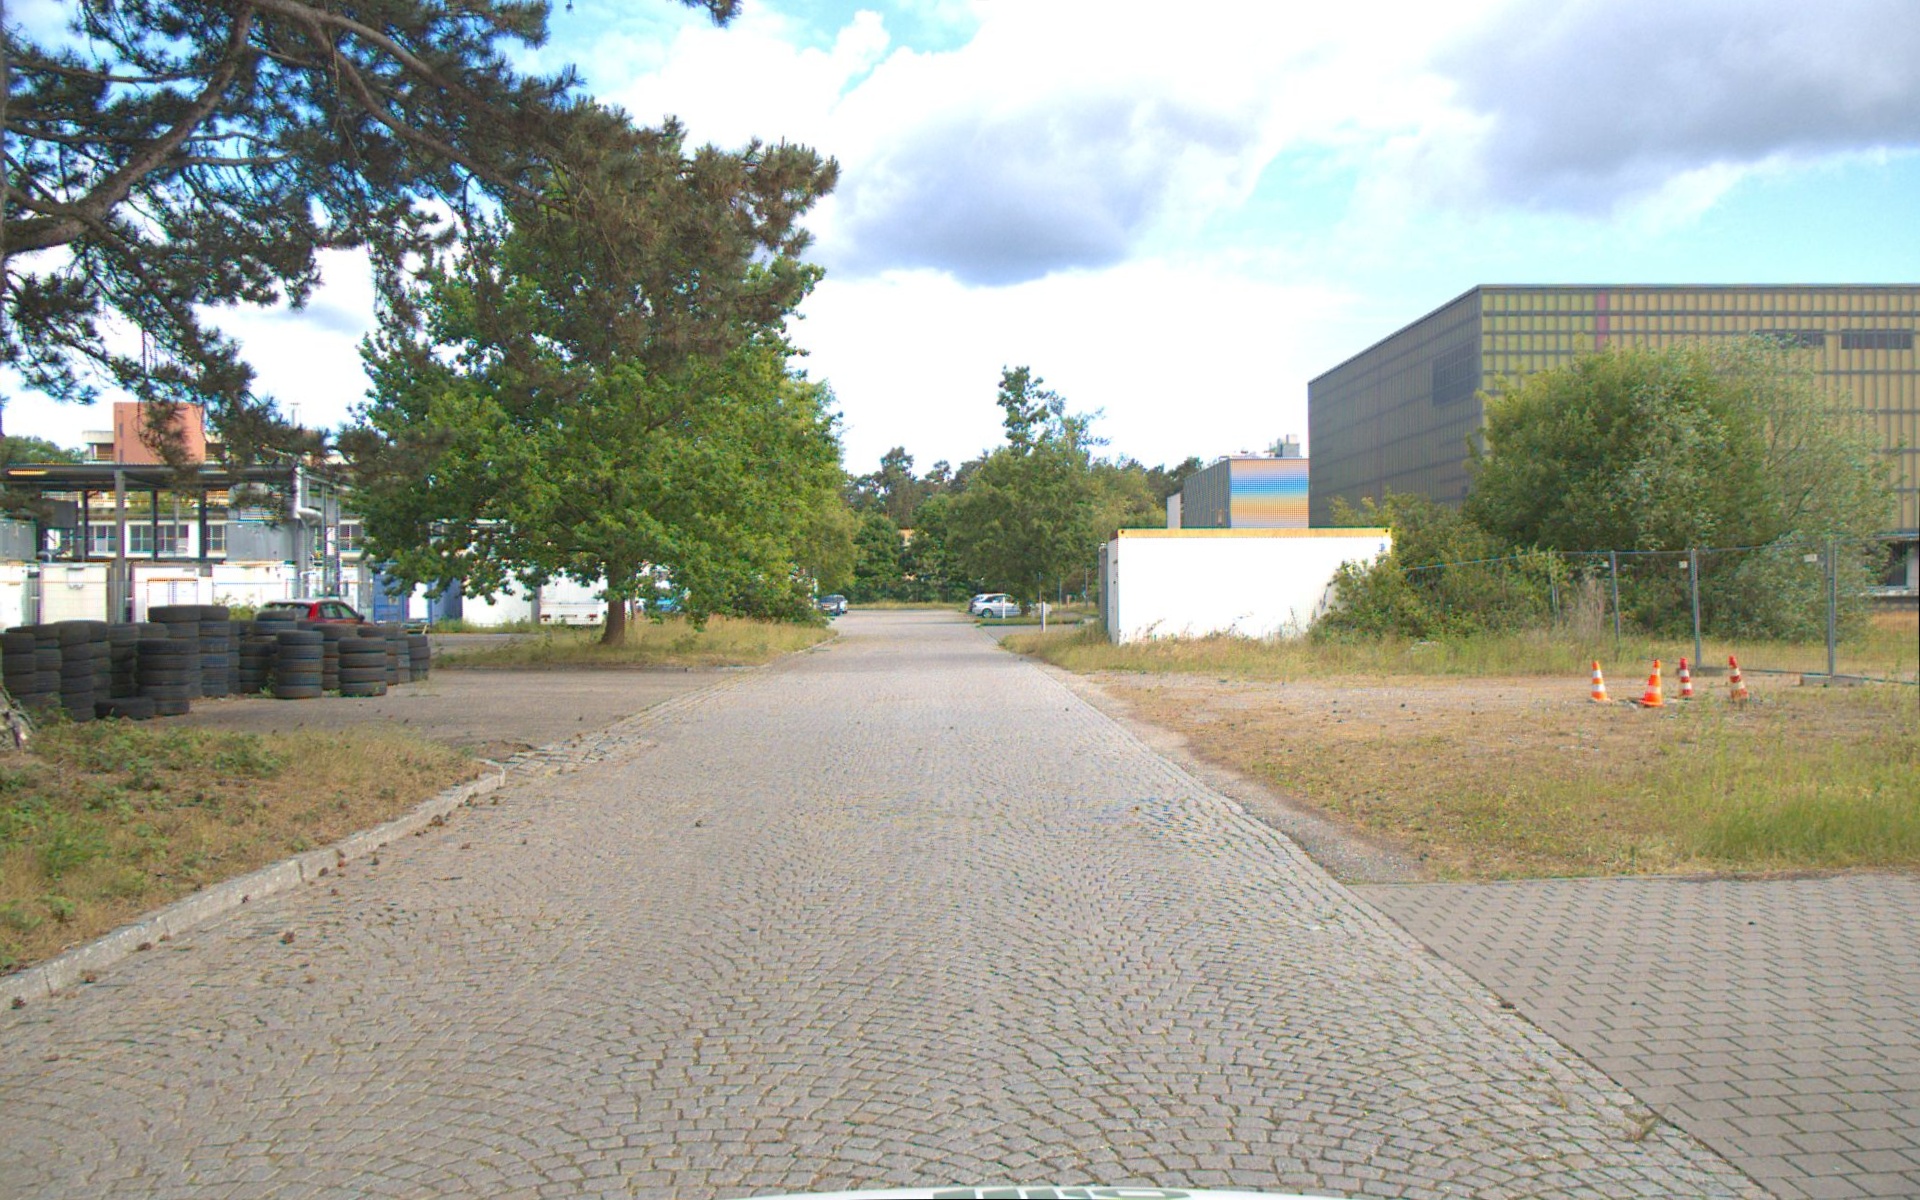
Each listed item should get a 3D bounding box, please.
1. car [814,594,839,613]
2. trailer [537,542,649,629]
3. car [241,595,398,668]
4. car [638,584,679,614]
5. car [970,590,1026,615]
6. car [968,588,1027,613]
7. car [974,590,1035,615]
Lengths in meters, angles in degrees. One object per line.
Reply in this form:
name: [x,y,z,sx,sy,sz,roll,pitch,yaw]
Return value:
car: [-10.163,0.234,126.311,1.614,1.393,3.997,0,0,-1]
trailer: [-16.311,-0.628,74.319,2.571,3.661,10.178,0,0,1]
car: [-13.991,0.653,36.365,1.591,1.458,4.066,-1,1,4]
car: [-20.750,-0.061,114.038,1.953,2.049,4.766,0,0,-1]
car: [2.401,0.163,105.040,3.451,1.386,1.622,-3,0,-1]
car: [2.545,0.034,112.870,3.904,1.501,1.653,-3,0,-1]
car: [2.882,0.161,107.745,3.904,1.473,1.653,-3,0,-1]
